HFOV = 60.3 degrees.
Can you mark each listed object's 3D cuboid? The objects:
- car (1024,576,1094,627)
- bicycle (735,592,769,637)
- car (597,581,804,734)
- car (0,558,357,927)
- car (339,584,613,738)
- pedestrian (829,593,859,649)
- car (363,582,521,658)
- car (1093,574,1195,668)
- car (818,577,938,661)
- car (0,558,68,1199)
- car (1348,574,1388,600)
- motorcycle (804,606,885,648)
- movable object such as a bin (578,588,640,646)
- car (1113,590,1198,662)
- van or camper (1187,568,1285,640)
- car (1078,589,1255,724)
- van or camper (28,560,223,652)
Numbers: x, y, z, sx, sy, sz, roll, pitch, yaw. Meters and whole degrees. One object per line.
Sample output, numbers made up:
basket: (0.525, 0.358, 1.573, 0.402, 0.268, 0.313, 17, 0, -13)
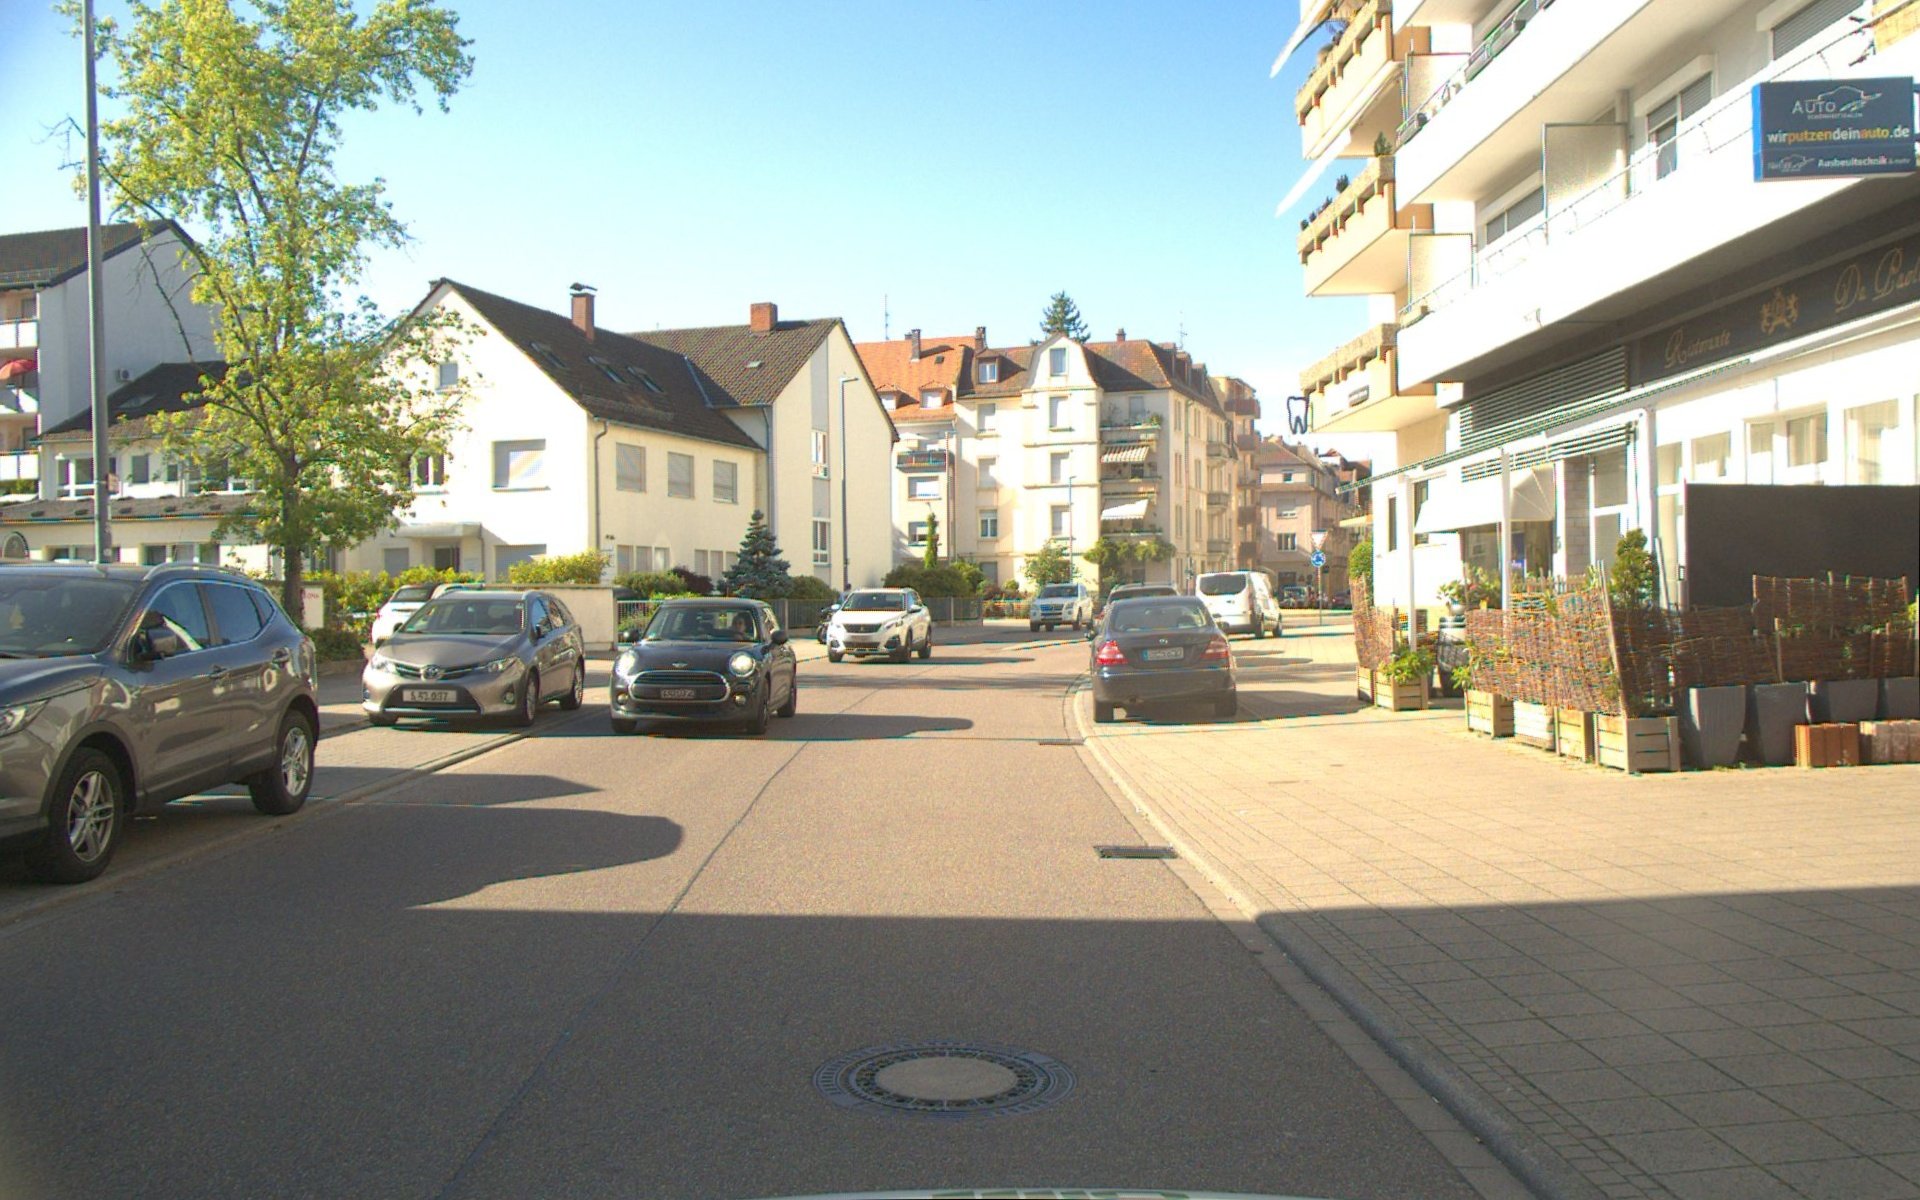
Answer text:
car: (3.790, 0.058, 62.459, 1.947, 1.816, 4.523, -1, 0, 12)
bicycle: (-6.139, 0.445, 48.946, 0.446, 1.272, 1.929, -1, -2, 10)
car: (-2.854, 0.686, 18.915, 1.704, 1.539, 3.729, -1, -3, 1)
car: (-5.061, 0.624, 9.381, 1.684, 1.614, 4.421, 0, 0, 0)
car: (-5.489, 0.611, 19.479, 1.953, 1.561, 4.916, -1, 0, -2)
pedestrian: (-3.687, 0.679, 52.766, 0.668, 1.733, 0.824, -1, -3, 20)
car: (-11.473, 0.494, 36.823, 1.763, 1.583, 3.188, -2, -3, 21)
car: (3.646, 0.473, 32.225, 1.778, 1.682, 4.563, -1, -2, 8)
car: (-1.782, 0.491, 37.453, 1.878, 1.755, 4.339, -1, -2, 9)
car: (-2.412, 0.699, 0.861, 1.691, 1.511, 4.105, 0, 0, -1)
car: (30.300, -0.956, 122.839, 2.381, 1.843, 4.725, -1, 0, 20)
motorcycle: (-3.193, 0.743, 45.817, 2.016, 1.037, 0.947, 3, 2, 24)
movable object such as a bin: (-9.540, 0.478, 45.000, 1.255, 1.516, 1.228, -1, -3, 15)
car: (4.420, 0.535, 36.933, 1.681, 1.433, 4.318, -3, 0, 9)
van or camper: (8.466, 0.104, 50.356, 1.979, 1.981, 4.704, -3, -1, 21)
car: (2.548, 0.655, 20.807, 1.929, 1.476, 5.006, -1, -1, 6)
van or camper: (-24.313, 0.209, 48.192, 5.110, 2.440, 2.150, -2, -2, 20)
